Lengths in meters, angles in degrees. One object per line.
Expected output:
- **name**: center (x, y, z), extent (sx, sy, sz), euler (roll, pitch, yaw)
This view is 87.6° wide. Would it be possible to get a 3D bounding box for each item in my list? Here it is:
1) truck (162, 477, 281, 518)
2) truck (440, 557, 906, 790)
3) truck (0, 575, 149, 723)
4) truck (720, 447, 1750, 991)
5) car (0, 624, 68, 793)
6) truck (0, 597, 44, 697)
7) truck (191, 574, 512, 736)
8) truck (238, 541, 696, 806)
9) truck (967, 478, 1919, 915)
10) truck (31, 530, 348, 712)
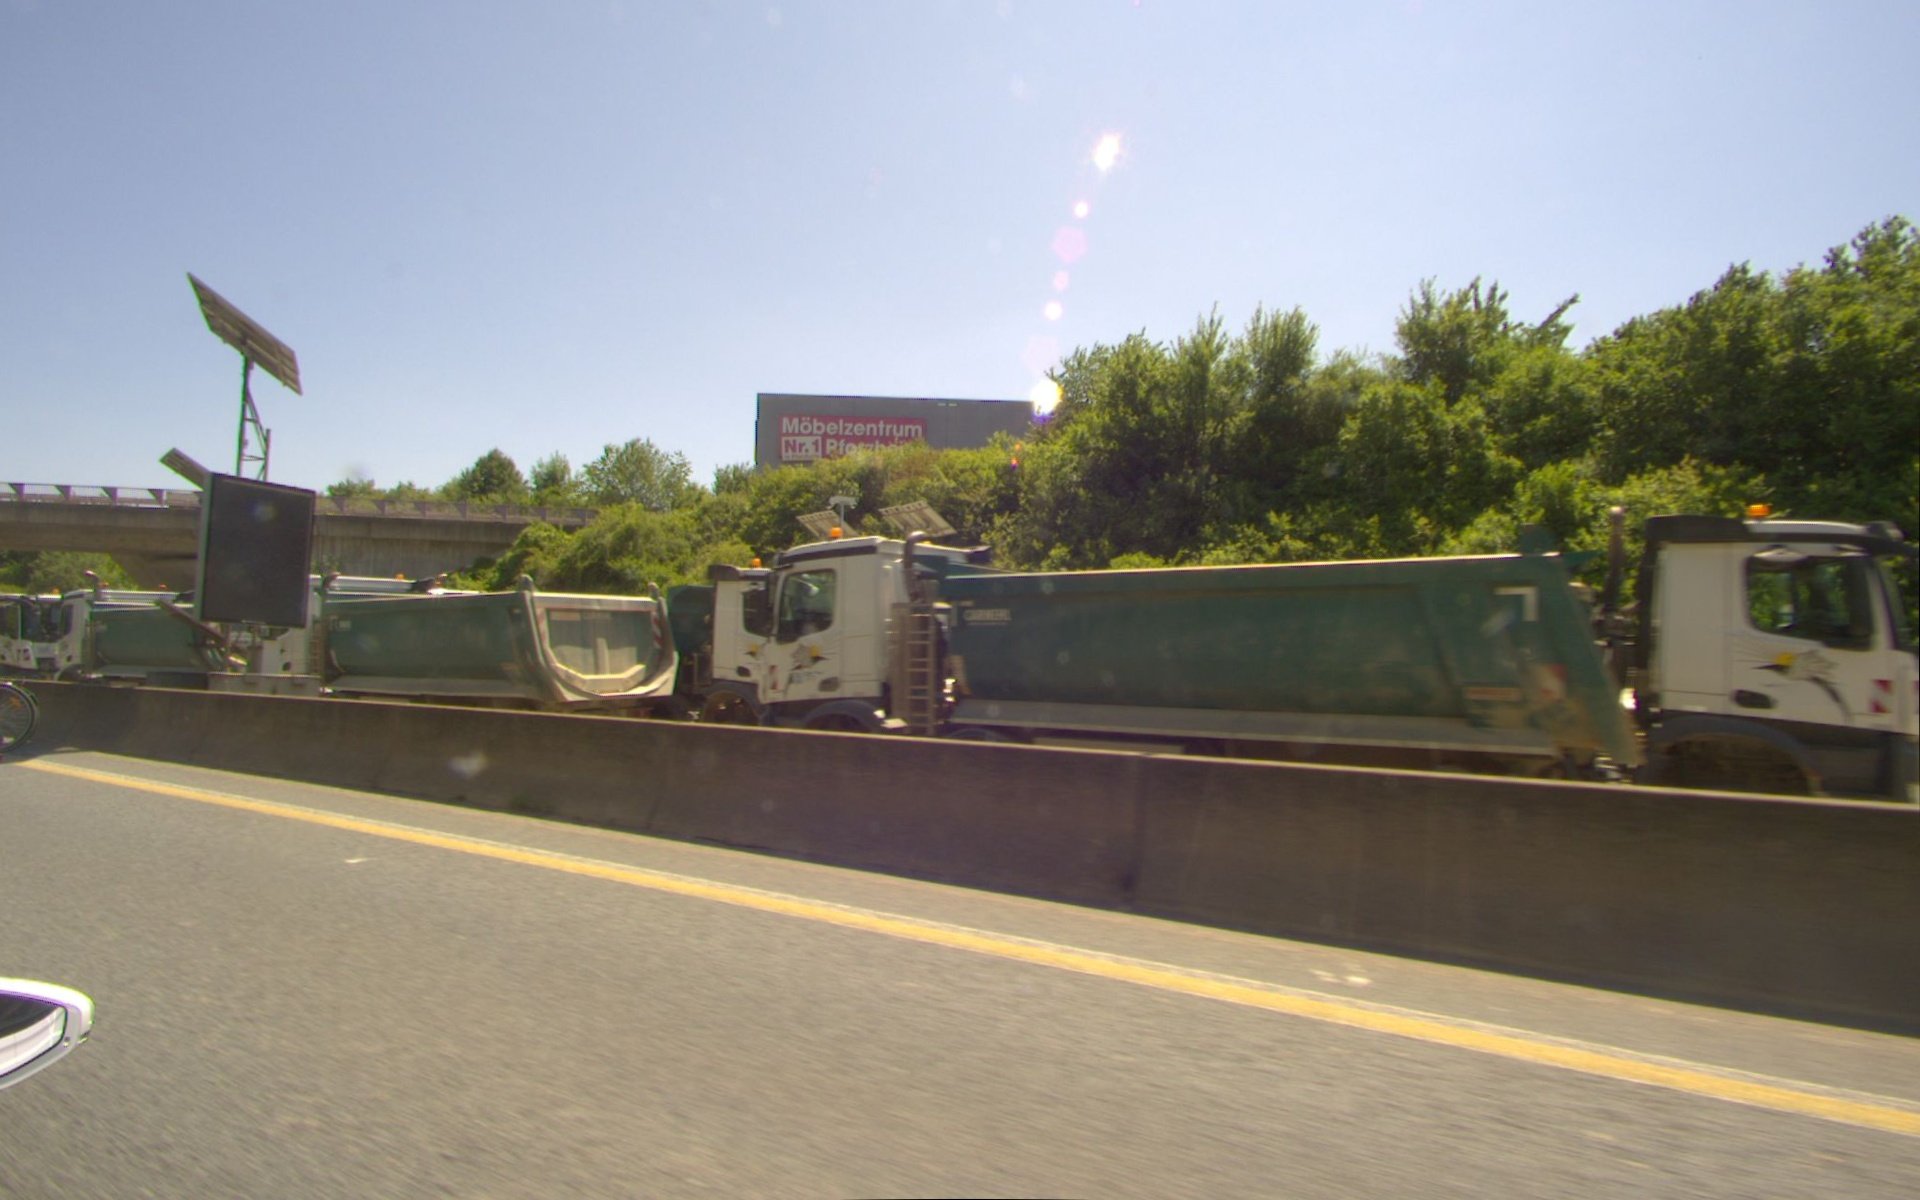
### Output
- **truck**: center (-43.440, -6.014, 59.007), extent (5.408, 2.092, 1.937), euler (0, -2, -4)
- **truck**: center (-5.611, 1.203, 18.432), extent (9.467, 3.420, 2.682), euler (-1, -2, 33)
- **truck**: center (-26.284, 1.306, 27.929), extent (9.188, 3.602, 2.684), euler (-1, -2, 31)
- **truck**: center (1.915, 0.896, 10.313), extent (9.465, 3.602, 2.683), euler (-1, -2, 32)
- **car**: center (-10.915, 1.011, 9.893), extent (4.878, 1.509, 1.896), euler (-2, -3, 33)
- **truck**: center (-38.502, 1.744, 38.253), extent (9.188, 3.602, 2.684), euler (-1, -2, 31)
- **truck**: center (-15.286, 1.279, 24.829), extent (9.461, 3.420, 2.684), euler (-1, -2, 31)
- **truck**: center (-8.798, 1.111, 17.257), extent (9.273, 3.602, 2.682), euler (-1, -2, 33)
- **truck**: center (4.798, 0.904, 11.786), extent (9.464, 3.602, 2.683), euler (-1, -2, 32)
- **truck**: center (-18.175, 0.518, 23.371), extent (9.188, 3.602, 2.684), euler (-1, -2, 31)
